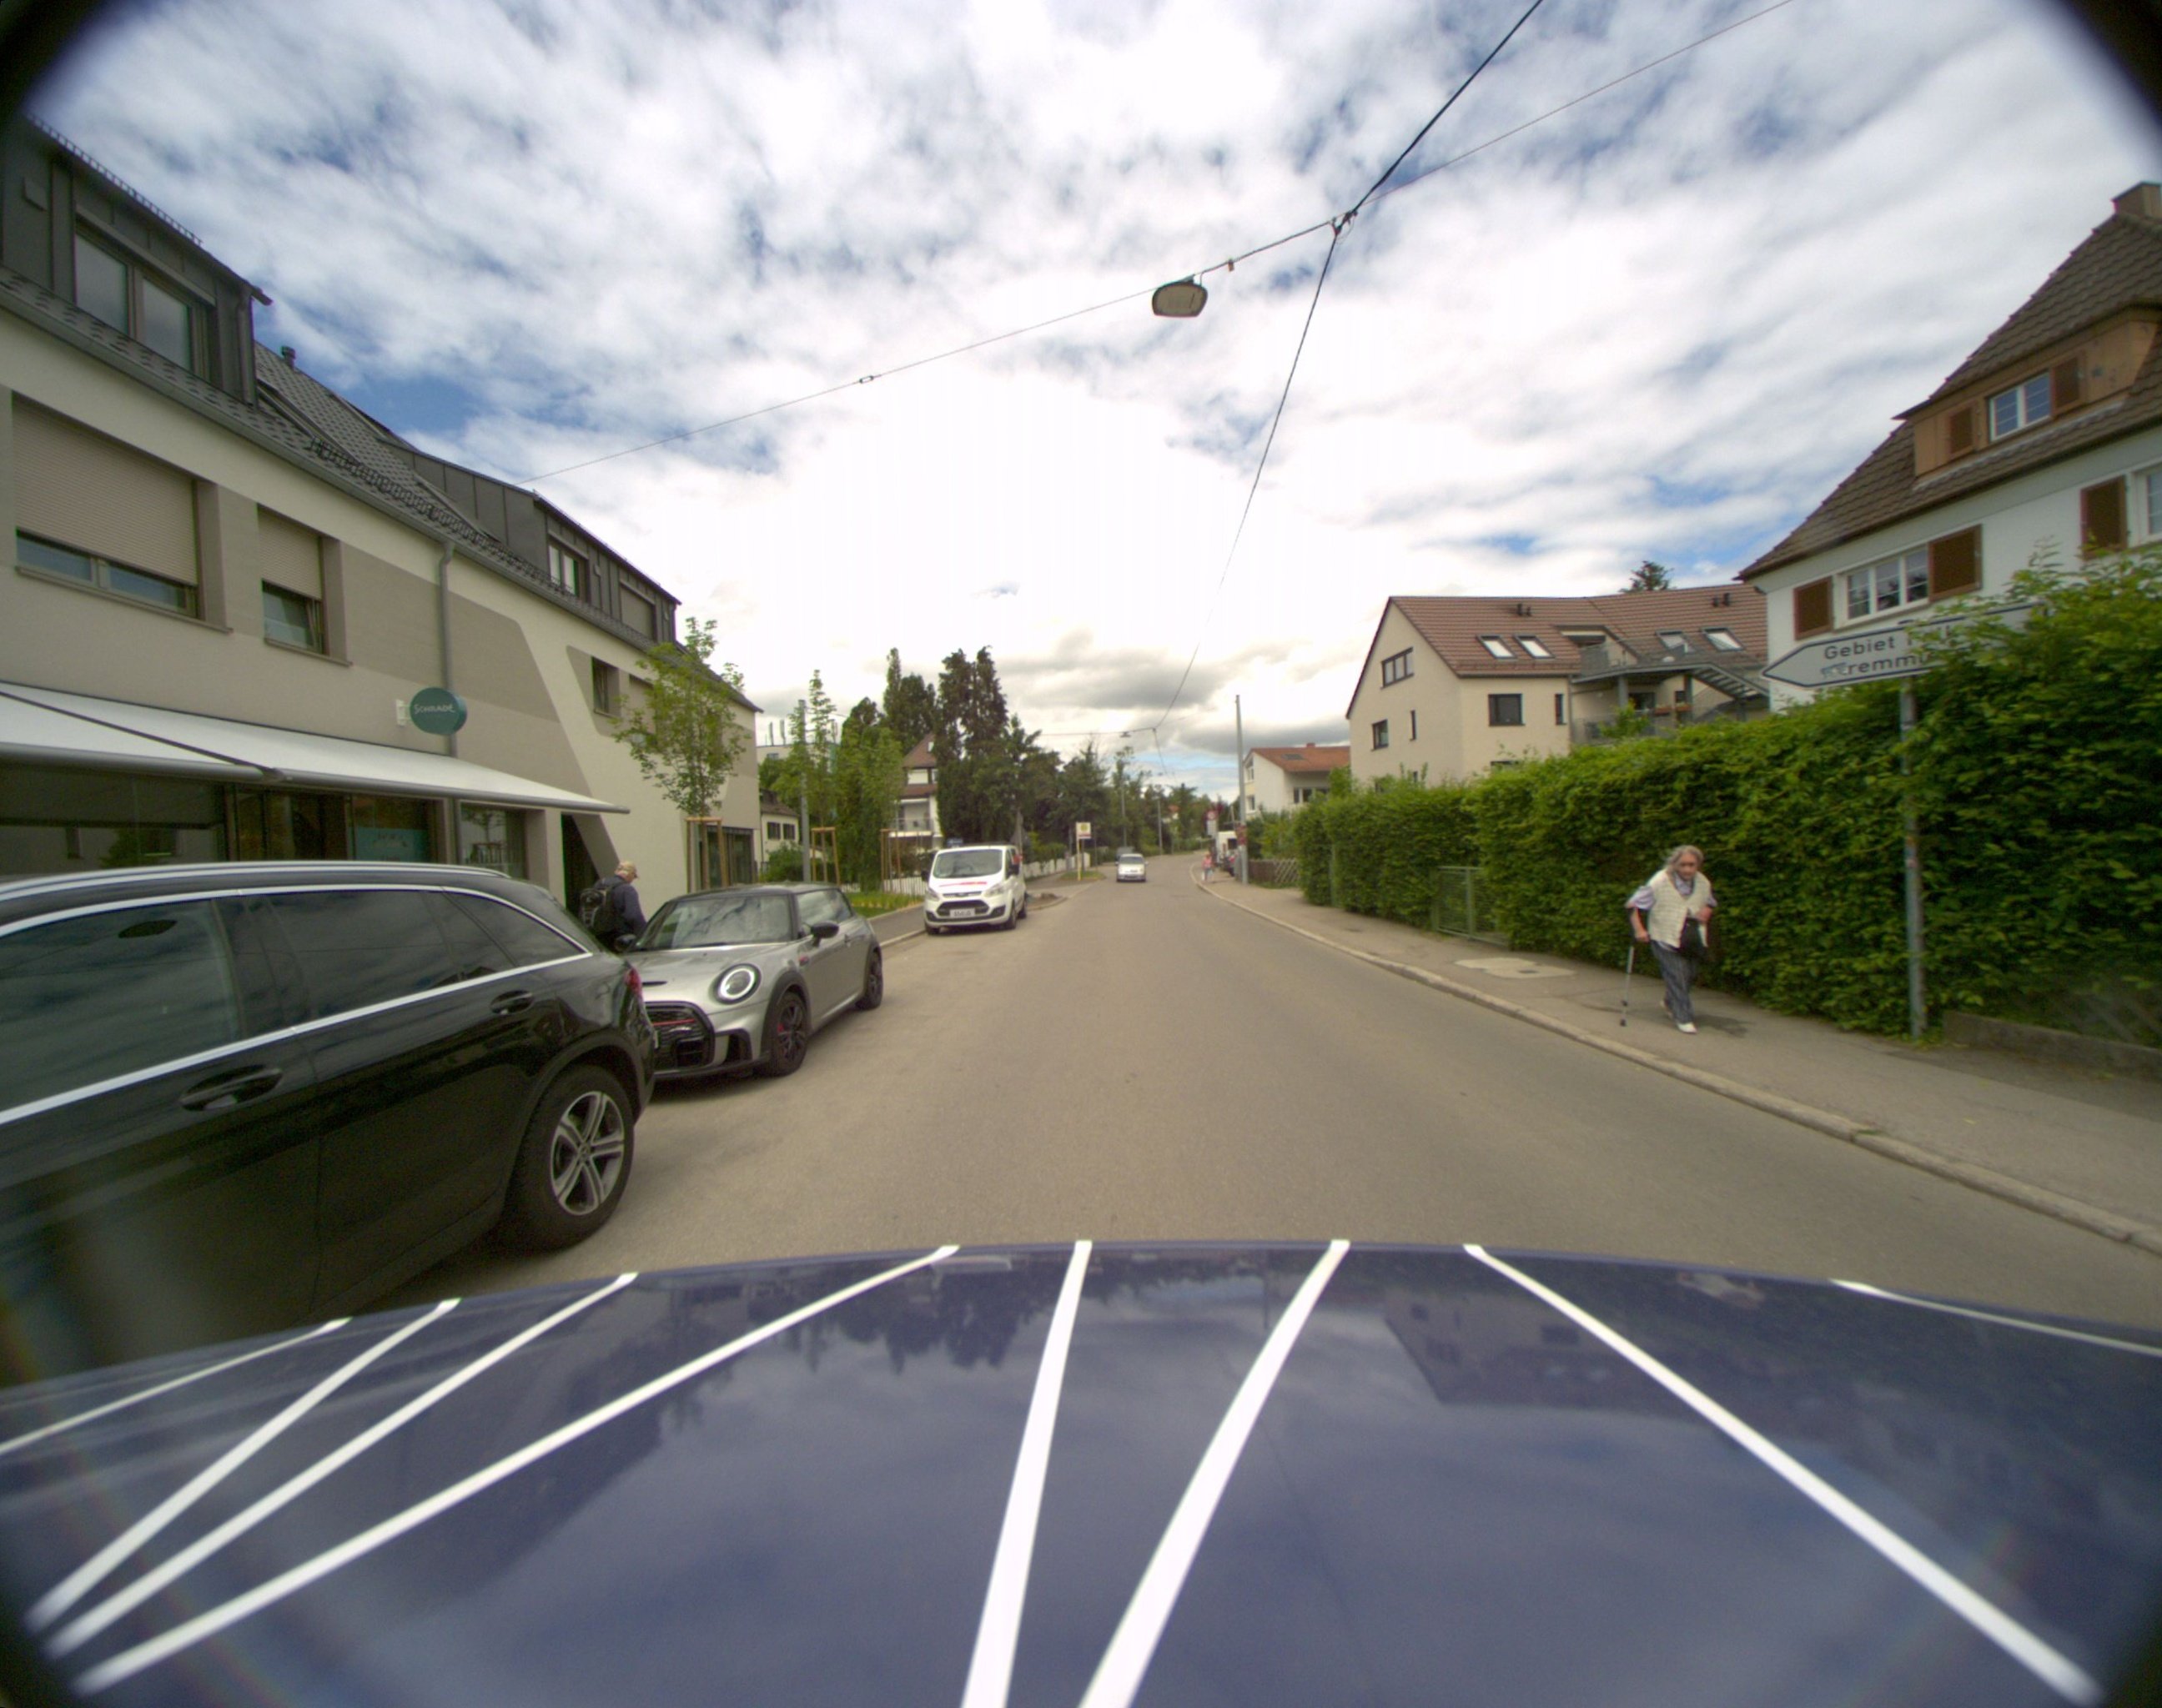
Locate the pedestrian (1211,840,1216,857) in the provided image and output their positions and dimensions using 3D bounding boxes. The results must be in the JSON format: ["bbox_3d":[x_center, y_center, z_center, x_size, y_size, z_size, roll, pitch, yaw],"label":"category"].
[{"bbox_3d":[16.121,-0.664,92.400,0.527,1.940,0.537,-3,1,11],"label":"pedestrian"}]

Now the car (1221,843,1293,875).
[{"bbox_3d":[10.760,0.307,46.635,3.996,1.718,1.885,-3,0,3],"label":"car"}]

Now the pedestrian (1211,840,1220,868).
[{"bbox_3d":[9.343,0.002,52.717,0.535,1.940,0.528,-3,1,10],"label":"pedestrian"}]

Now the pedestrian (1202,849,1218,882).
[{"bbox_3d":[6.449,0.582,38.057,0.619,1.589,0.608,-3,1,-1],"label":"pedestrian"}]

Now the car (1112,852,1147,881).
[{"bbox_3d":[2.795,0.693,44.523,1.726,1.559,3.927,-3,0,1],"label":"car"}]

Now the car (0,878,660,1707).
[{"bbox_3d":[-3.011,0.992,1.519,1.852,1.627,4.465,-4,0,-2],"label":"car"}]

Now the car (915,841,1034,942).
[{"bbox_3d":[-2.439,0.797,18.918,1.998,2.002,5.566,-4,0,0],"label":"car"}]

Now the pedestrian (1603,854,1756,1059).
[{"bbox_3d":[4.828,0.788,6.149,0.749,1.522,0.544,-4,1,-12],"label":"pedestrian"}]

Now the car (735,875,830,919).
[{"bbox_3d":[-14.601,2.092,37.368,3.844,1.587,1.875,-7,1,-6],"label":"car"}]

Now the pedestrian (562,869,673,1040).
[{"bbox_3d":[-4.760,1.005,7.839,0.678,1.659,0.660,-2,1,1],"label":"pedestrian"}]

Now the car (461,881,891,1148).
[{"bbox_3d":[-3.054,1.093,6.762,1.711,1.444,3.834,-4,0,-1],"label":"car"}]
